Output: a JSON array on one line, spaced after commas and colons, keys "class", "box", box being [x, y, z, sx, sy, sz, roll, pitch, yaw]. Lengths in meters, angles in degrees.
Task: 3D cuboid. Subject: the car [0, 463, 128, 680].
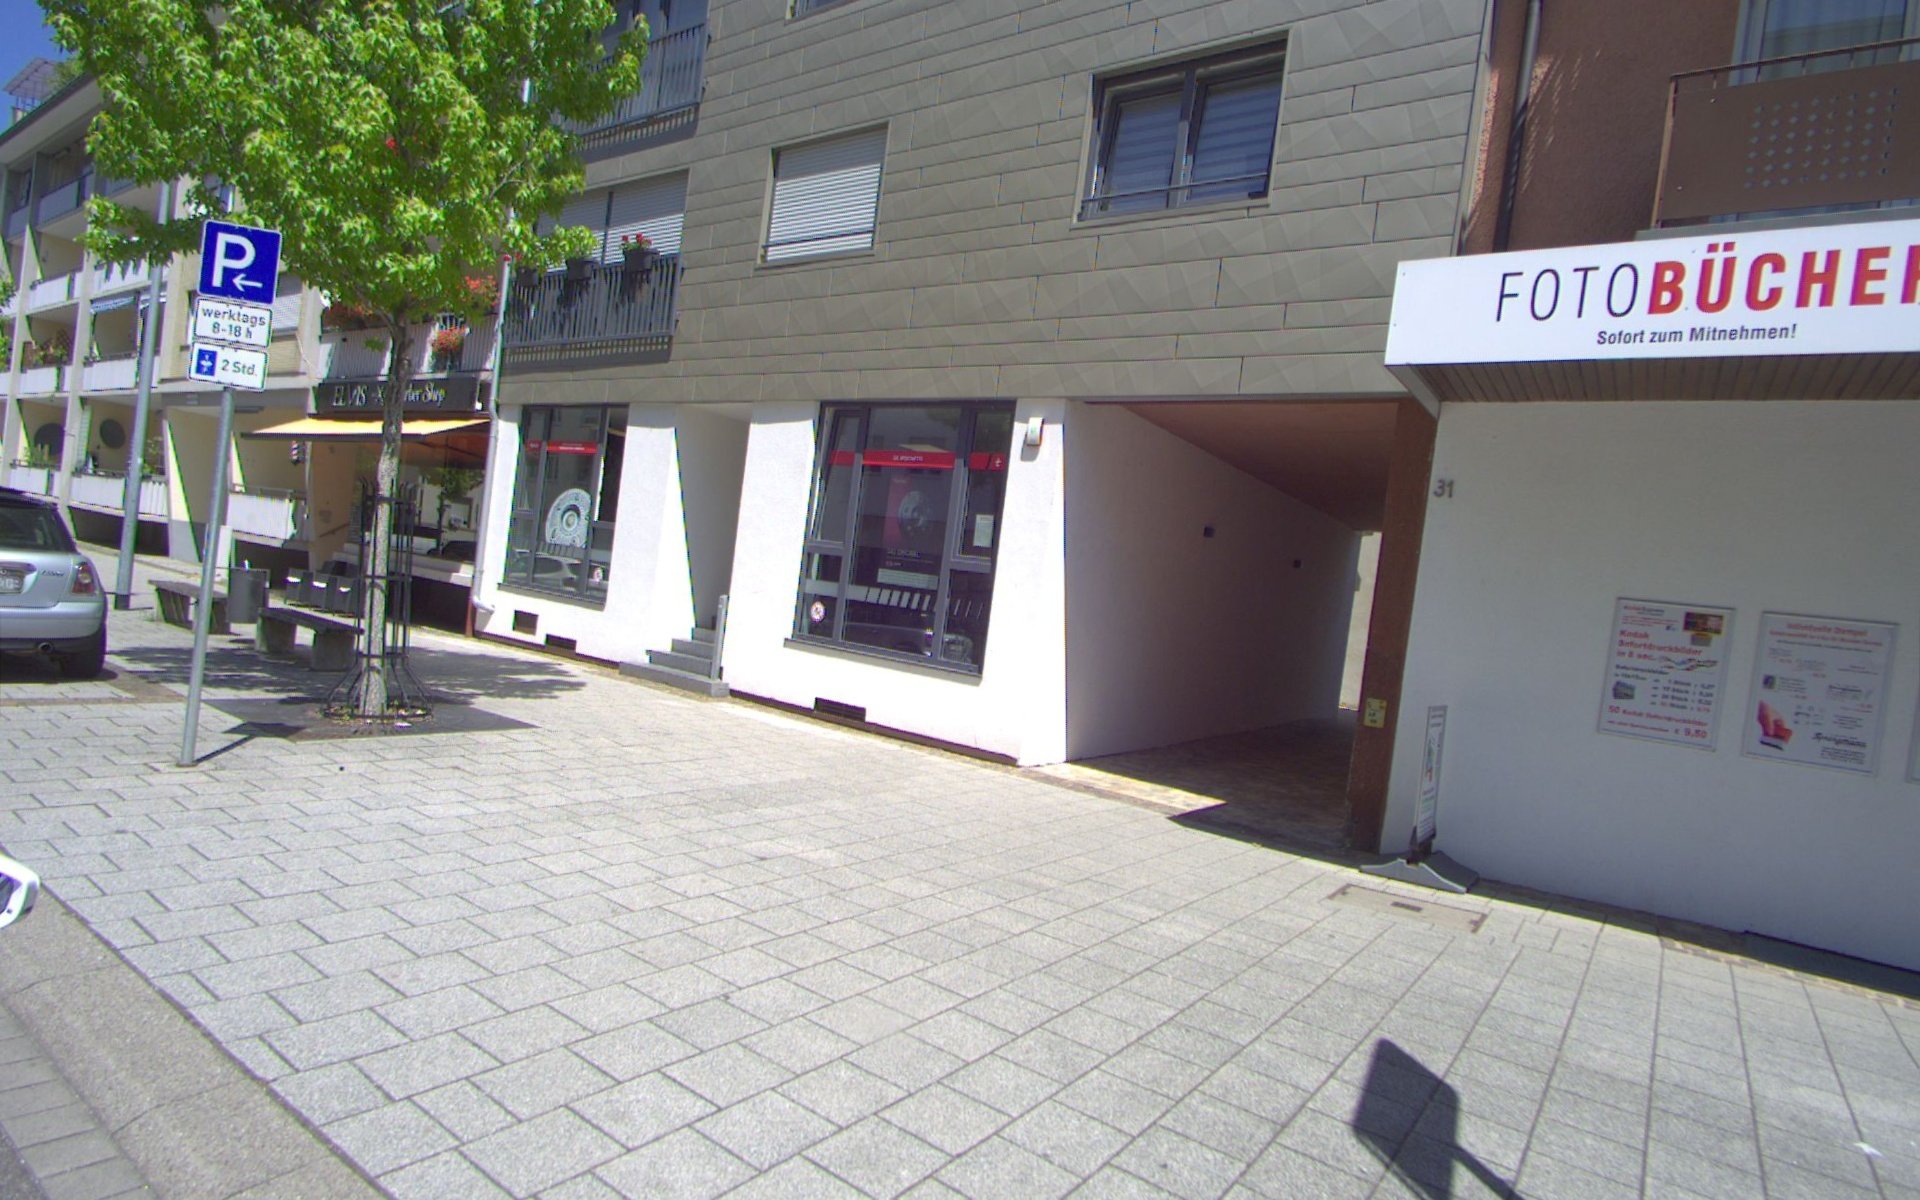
[{"class": "car", "box": [-8.560, -0.398, 8.344, 3.781, 1.579, 1.622, 7, 1, 36]}]

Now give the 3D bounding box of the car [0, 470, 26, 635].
[{"class": "car", "box": [-12.330, -0.769, 11.350, 4.633, 1.728, 1.763, 7, 2, 37]}]
